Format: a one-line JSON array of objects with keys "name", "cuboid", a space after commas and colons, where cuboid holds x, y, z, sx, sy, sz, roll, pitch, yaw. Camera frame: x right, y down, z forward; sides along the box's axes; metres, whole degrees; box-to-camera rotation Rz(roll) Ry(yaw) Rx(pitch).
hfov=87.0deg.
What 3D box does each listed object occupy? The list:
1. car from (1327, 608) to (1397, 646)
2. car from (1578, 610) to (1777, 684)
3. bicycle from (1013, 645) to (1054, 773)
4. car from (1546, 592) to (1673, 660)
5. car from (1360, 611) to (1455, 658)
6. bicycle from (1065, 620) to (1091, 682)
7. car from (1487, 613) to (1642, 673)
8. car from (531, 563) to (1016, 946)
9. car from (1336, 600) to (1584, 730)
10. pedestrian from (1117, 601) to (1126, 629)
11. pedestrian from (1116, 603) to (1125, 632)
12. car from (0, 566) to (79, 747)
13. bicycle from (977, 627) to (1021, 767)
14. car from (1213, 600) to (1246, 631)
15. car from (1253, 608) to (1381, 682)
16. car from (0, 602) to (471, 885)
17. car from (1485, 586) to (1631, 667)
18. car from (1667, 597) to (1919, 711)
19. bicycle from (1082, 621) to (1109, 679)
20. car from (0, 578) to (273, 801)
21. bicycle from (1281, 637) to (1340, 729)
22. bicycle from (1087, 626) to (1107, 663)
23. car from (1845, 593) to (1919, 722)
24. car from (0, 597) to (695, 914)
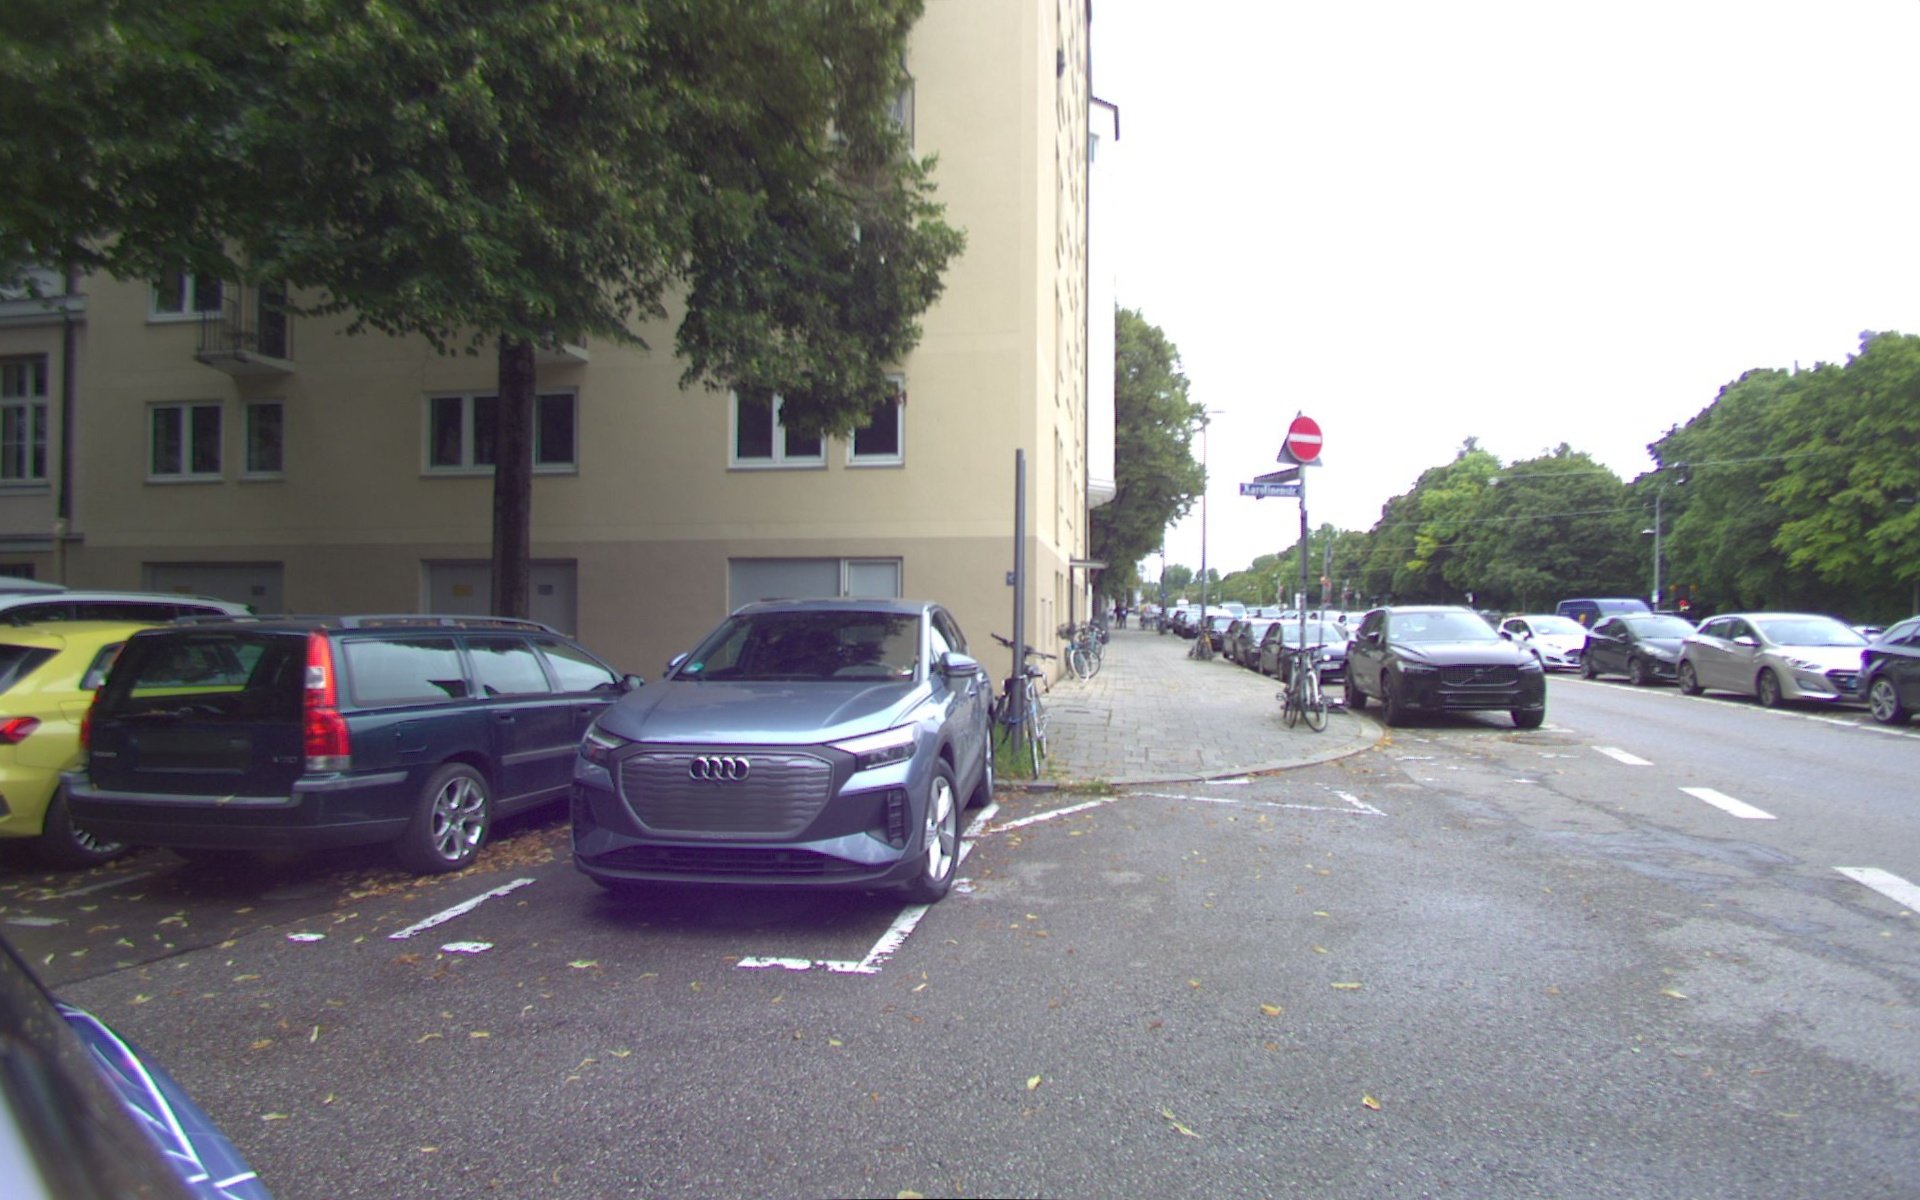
[{"name": "car", "cuboid": [19.040, 1.269, 48.192, 2.052, 1.715, 4.548, 0, -1, 8]}, {"name": "car", "cuboid": [14.896, 0.911, 21.320, 1.749, 1.380, 4.268, 0, -1, 10]}, {"name": "bicycle", "cuboid": [0.693, 0.970, 9.378, 0.279, 1.069, 1.235, 0, -1, 9]}, {"name": "car", "cuboid": [25.522, 0.953, 40.054, 2.167, 2.482, 5.831, 0, 0, 11]}, {"name": "car", "cuboid": [17.401, 1.305, 39.631, 2.052, 1.715, 5.077, 0, -1, 8]}, {"name": "bicycle", "cuboid": [2.291, 0.974, 19.711, 0.358, 1.180, 1.319, 0, -1, 0]}, {"name": "car", "cuboid": [15.851, 1.076, 26.828, 1.970, 1.467, 4.272, 0, -1, 8]}, {"name": "car", "cuboid": [-0.710, 0.665, 6.419, 1.805, 1.577, 4.235, 0, -1, 8]}, {"name": "car", "cuboid": [6.957, 0.844, 14.691, 2.109, 1.577, 4.490, -1, -1, 12]}, {"name": "pedestrian", "cuboid": [11.580, 1.083, 72.505, 0.451, 2.029, 0.619, 0, -1, -7]}, {"name": "pedestrian", "cuboid": [11.355, 1.240, 71.710, 0.451, 2.029, 0.619, 0, -1, -7]}, {"name": "car", "cuboid": [-10.465, 0.534, 8.641, 1.896, 1.764, 4.233, 0, -1, 9]}, {"name": "bicycle", "cuboid": [0.387, 0.887, 9.724, 0.279, 1.240, 1.235, 0, -1, 9]}, {"name": "car", "cuboid": [20.193, 1.146, 75.929, 1.836, 2.227, 4.542, 0, 0, 8]}, {"name": "car", "cuboid": [8.405, 1.019, 24.284, 2.107, 1.577, 4.493, -1, -1, 10]}, {"name": "car", "cuboid": [-5.709, 0.777, 7.330, 1.896, 1.478, 4.235, 0, -1, 8]}, {"name": "car", "cuboid": [16.154, 0.689, 27.600, 1.976, 2.029, 3.990, 0, -1, 8]}, {"name": "car", "cuboid": [13.447, 0.769, 16.110, 1.972, 1.577, 4.268, 0, -1, 10]}, {"name": "bicycle", "cuboid": [2.859, 1.042, 21.436, 0.395, 1.180, 1.319, 0, -1, 0]}, {"name": "car", "cuboid": [-7.906, 0.658, 7.876, 1.896, 1.632, 4.235, 0, -1, 8]}, {"name": "bicycle", "cuboid": [4.444, 1.019, 12.917, 0.628, 1.045, 1.726, 0, -1, 17]}, {"name": "bicycle", "cuboid": [3.862, 1.243, 28.517, 0.457, 1.012, 1.317, 0, -1, 3]}, {"name": "car", "cuboid": [12.542, 0.694, 11.453, 1.974, 1.577, 4.265, 0, -1, 13]}, {"name": "car", "cuboid": [-3.625, 0.753, 6.986, 2.031, 1.478, 4.235, 0, -1, 8]}]
